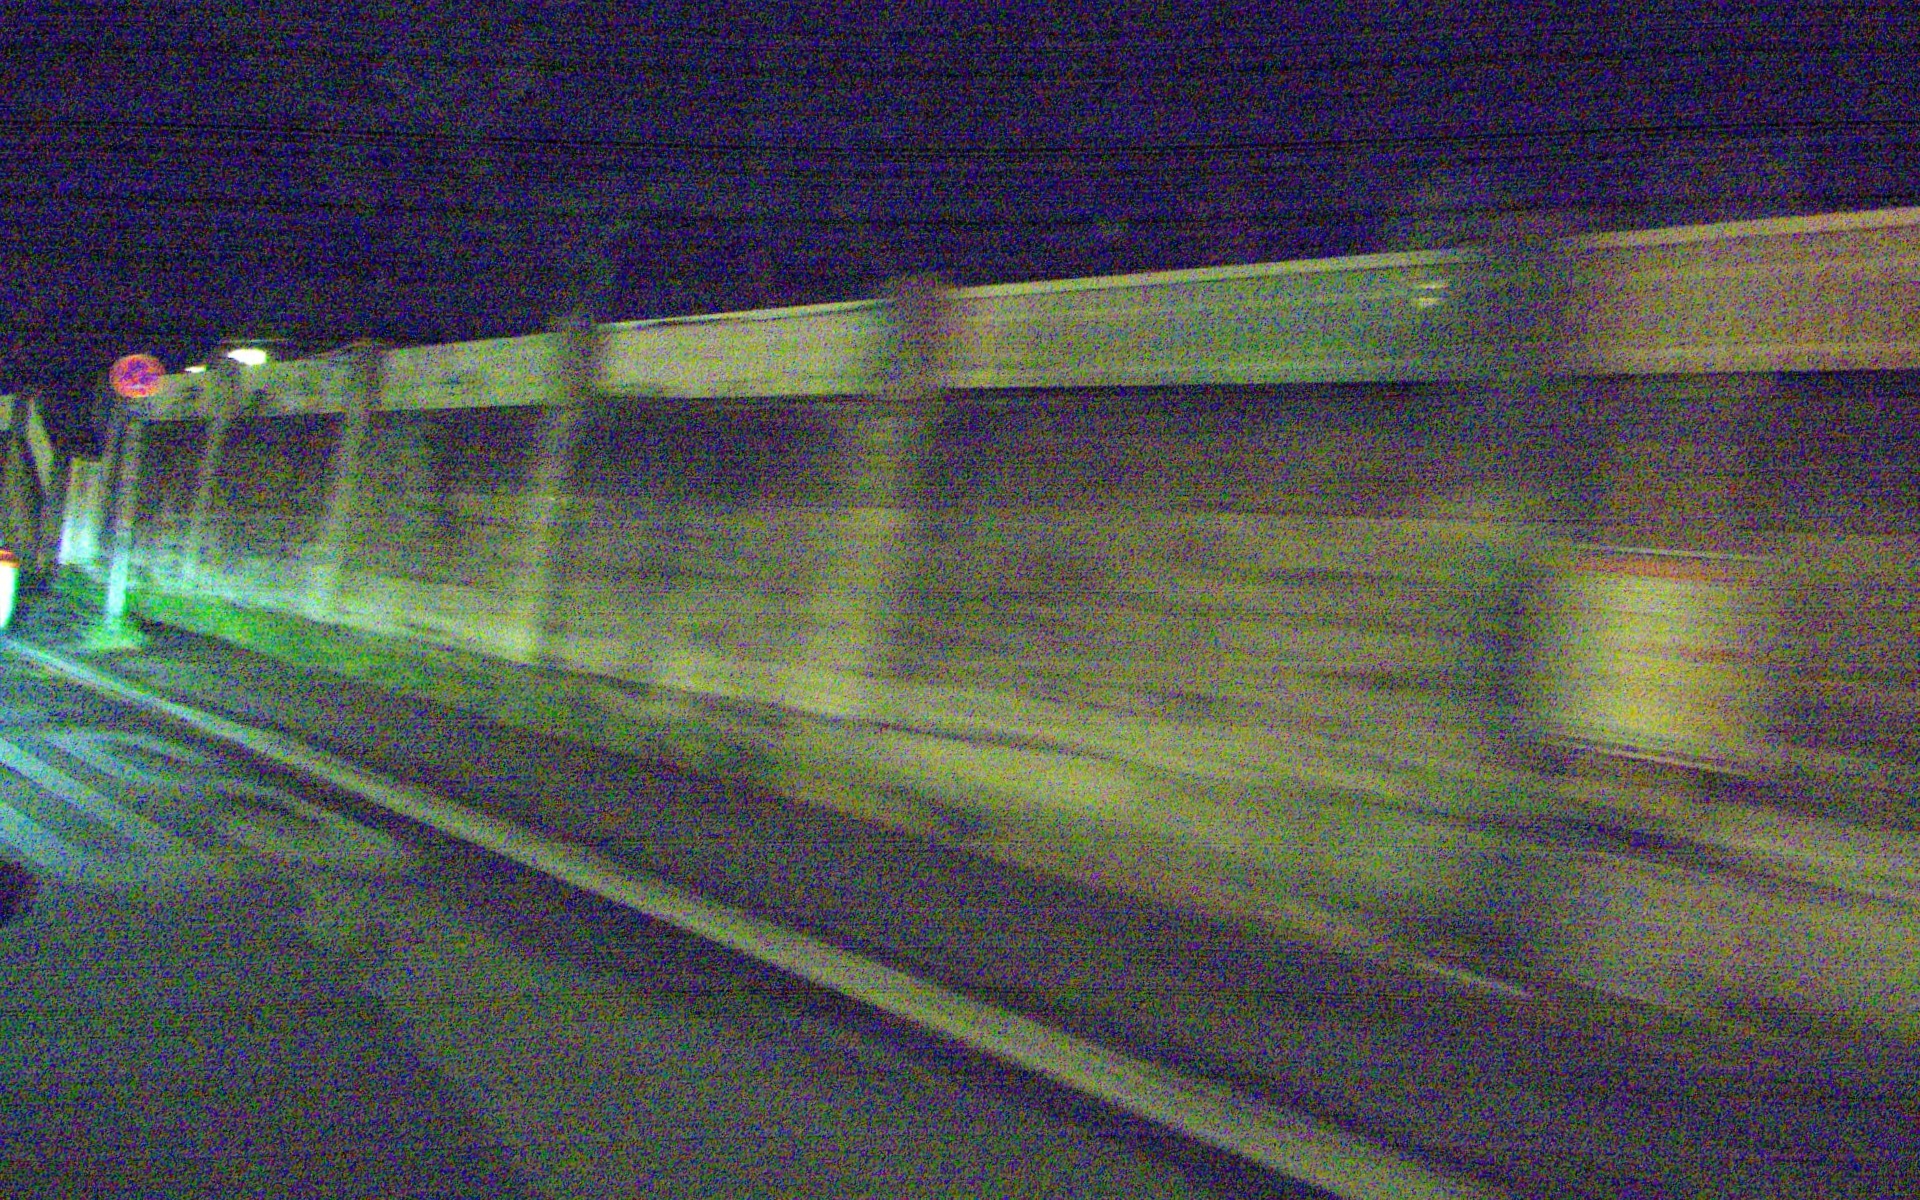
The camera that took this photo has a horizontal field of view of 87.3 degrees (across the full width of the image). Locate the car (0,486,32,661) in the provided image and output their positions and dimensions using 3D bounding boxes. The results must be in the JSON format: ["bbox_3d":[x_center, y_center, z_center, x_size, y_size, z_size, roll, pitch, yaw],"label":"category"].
[{"bbox_3d":[-11.228,-0.550,10.034,4.653,1.611,1.758,6,-3,34],"label":"car"}]
